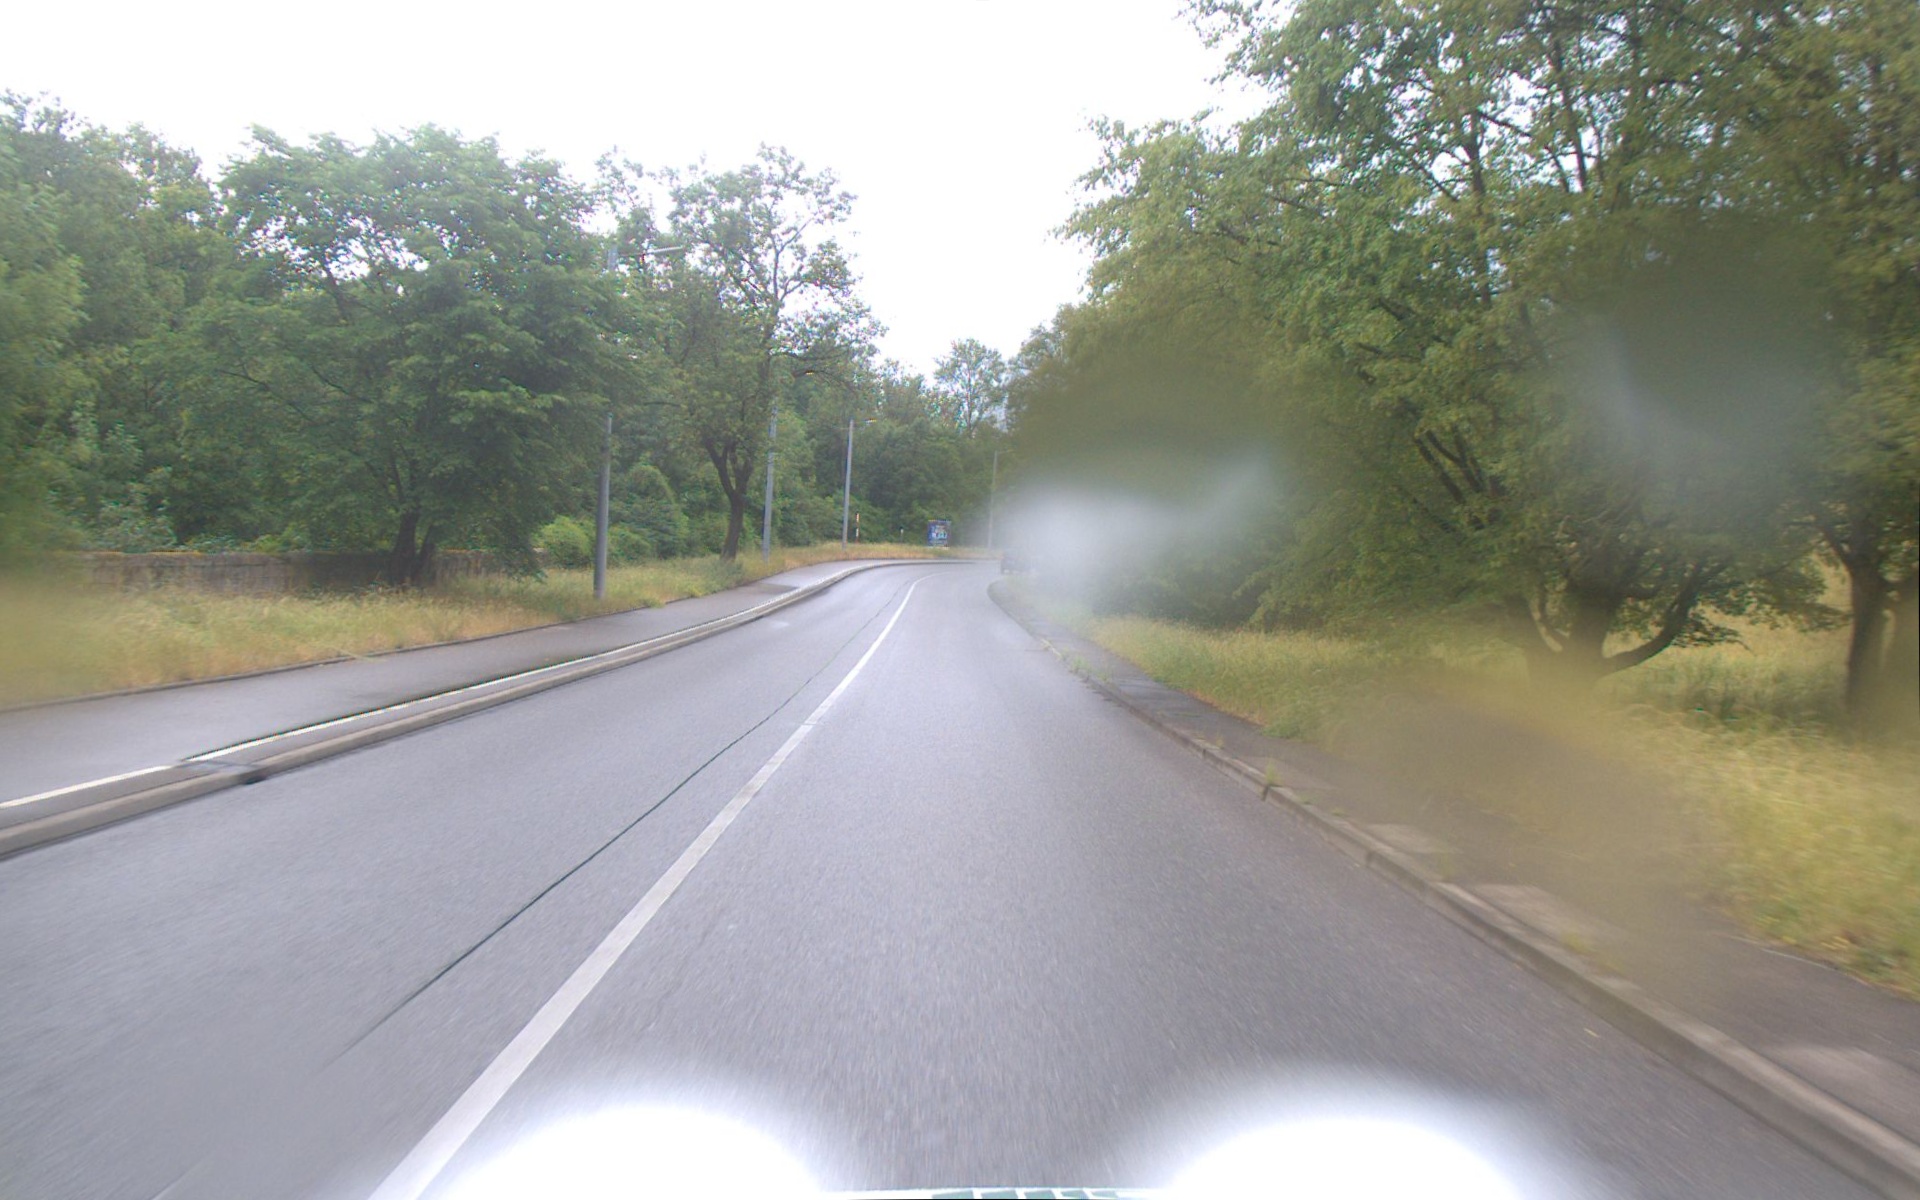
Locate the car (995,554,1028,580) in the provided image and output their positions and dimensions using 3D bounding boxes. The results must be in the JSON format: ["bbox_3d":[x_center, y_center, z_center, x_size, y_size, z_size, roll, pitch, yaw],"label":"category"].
[{"bbox_3d":[3.850,-2.473,123.111,1.705,1.746,4.003,4,1,12],"label":"car"}]
